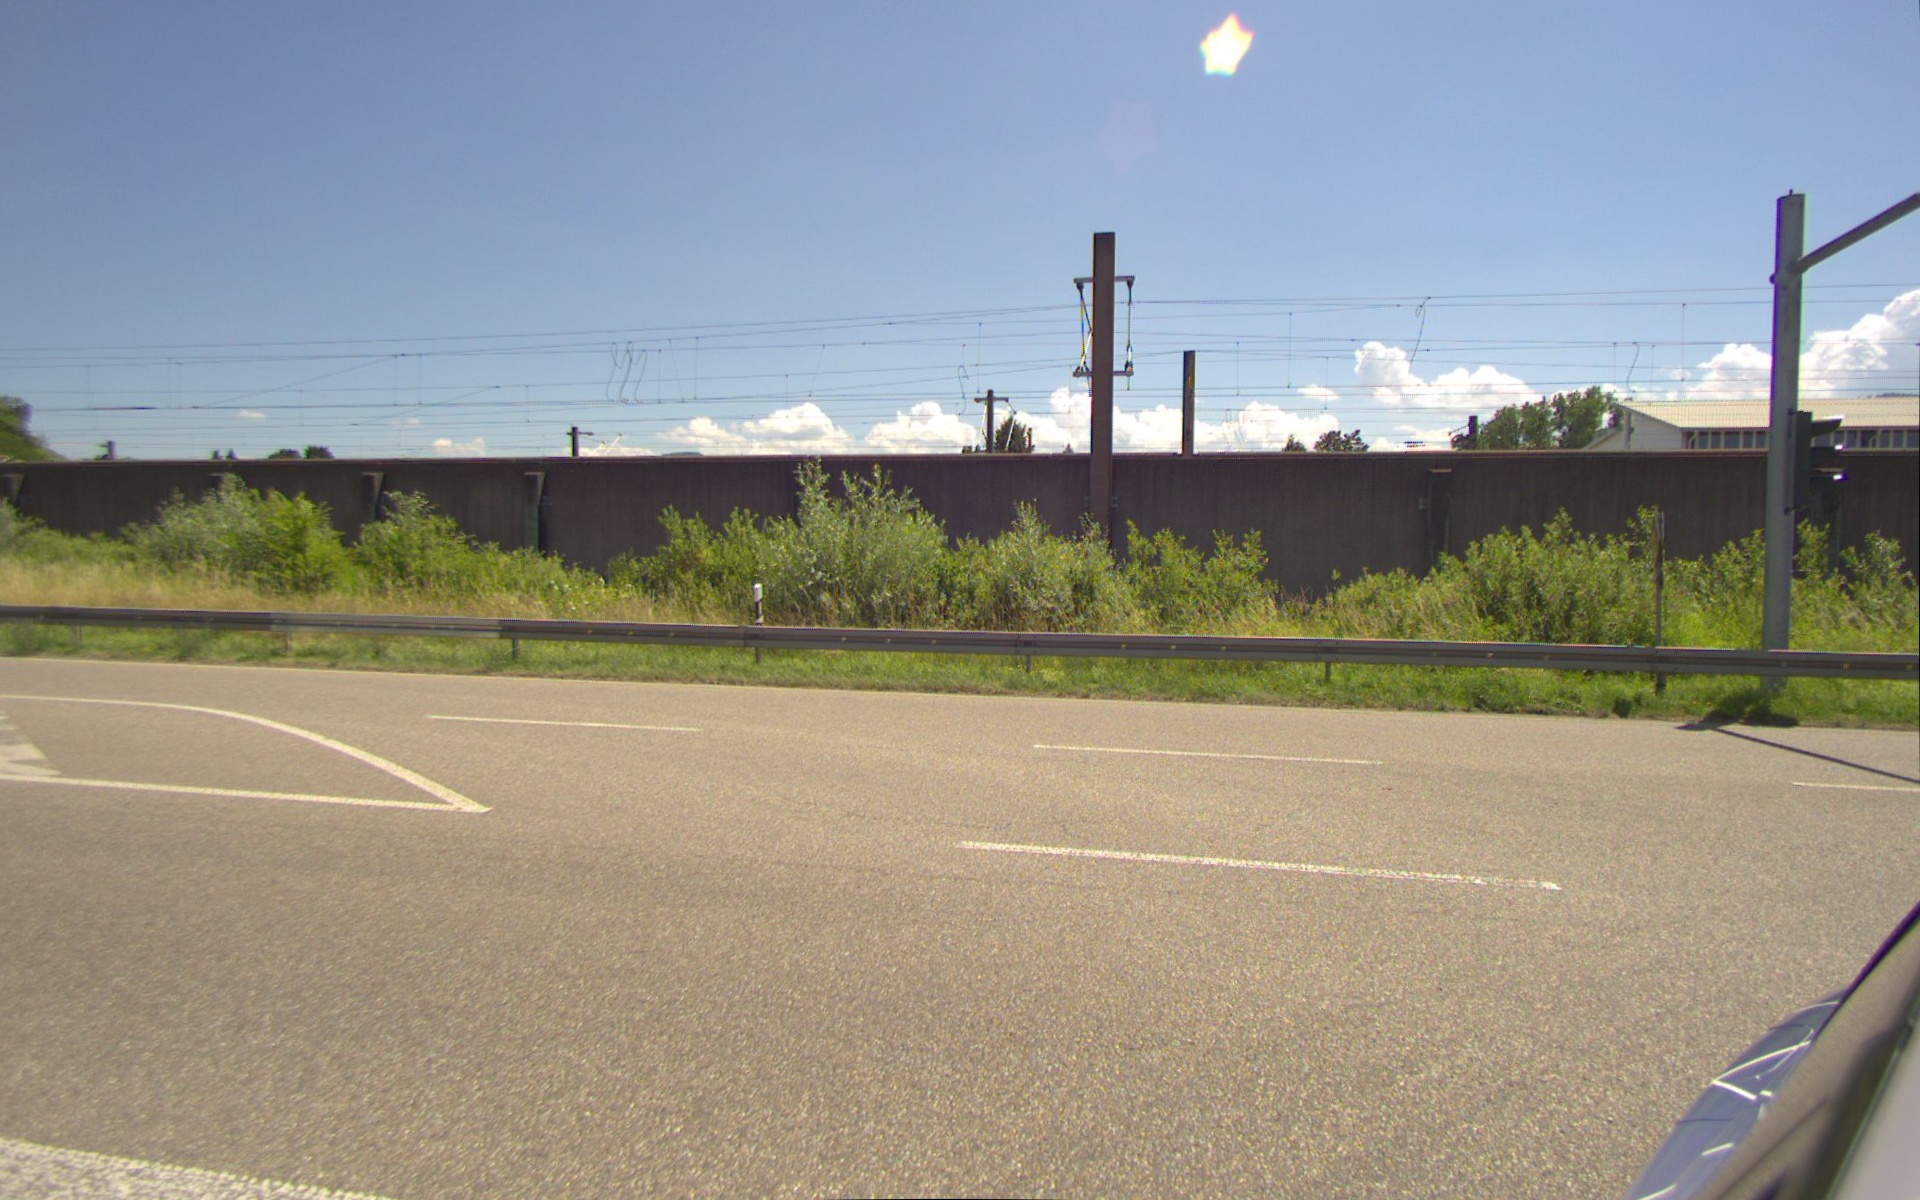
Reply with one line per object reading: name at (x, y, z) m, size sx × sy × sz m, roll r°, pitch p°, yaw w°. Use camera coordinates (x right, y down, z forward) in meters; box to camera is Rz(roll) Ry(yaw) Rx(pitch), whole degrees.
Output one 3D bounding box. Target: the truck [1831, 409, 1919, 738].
truck at (14.112, -0.136, 8.345) m, size 10.485 × 3.079 × 2.612 m, roll 1°, pitch 2°, yaw 11°
